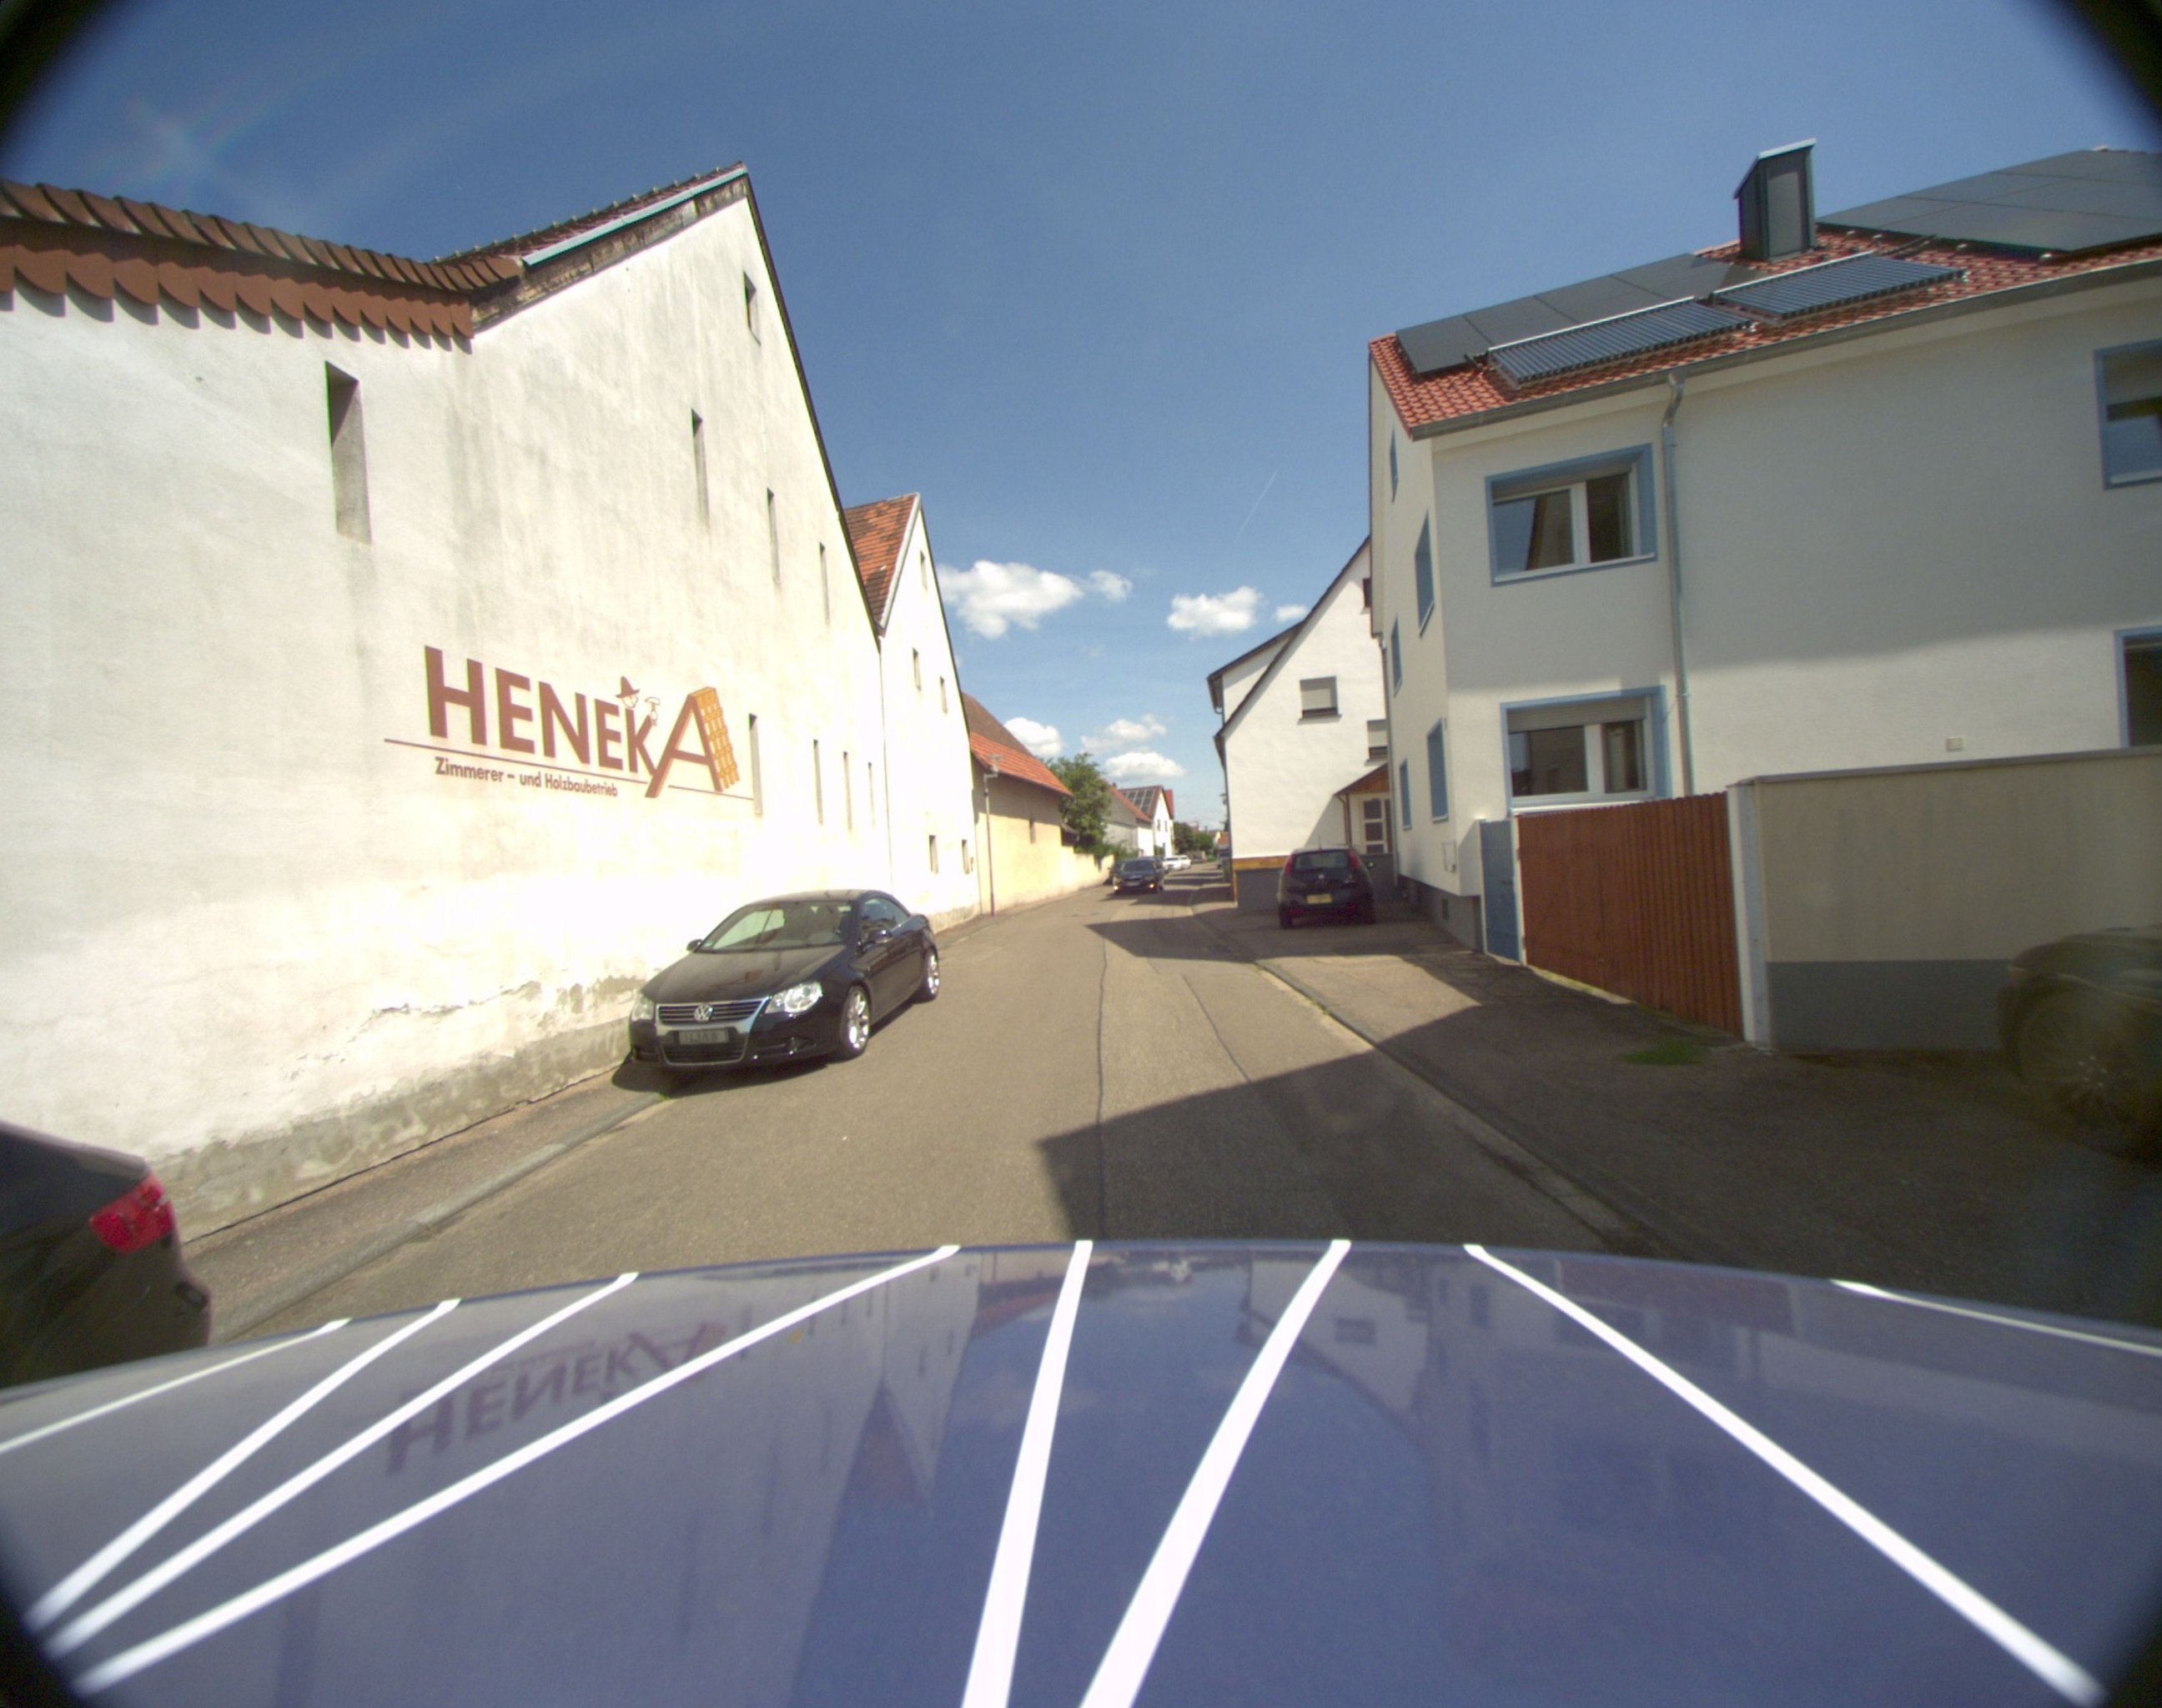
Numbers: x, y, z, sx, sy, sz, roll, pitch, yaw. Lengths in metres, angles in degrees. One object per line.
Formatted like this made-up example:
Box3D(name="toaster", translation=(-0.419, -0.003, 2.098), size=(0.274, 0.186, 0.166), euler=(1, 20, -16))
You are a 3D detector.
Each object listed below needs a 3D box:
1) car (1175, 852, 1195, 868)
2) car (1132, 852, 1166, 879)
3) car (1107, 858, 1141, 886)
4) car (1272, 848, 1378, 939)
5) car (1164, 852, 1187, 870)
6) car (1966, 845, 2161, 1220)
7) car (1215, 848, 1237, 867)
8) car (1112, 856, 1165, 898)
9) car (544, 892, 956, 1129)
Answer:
Box3D(name="car", translation=(11.844, 0.690, 86.739), size=(1.783, 1.491, 4.042), euler=(-6, 0, 13))
Box3D(name="car", translation=(4.926, 0.809, 54.402), size=(1.783, 1.600, 4.003), euler=(-6, 0, 13))
Box3D(name="car", translation=(2.635, 1.047, 45.438), size=(1.784, 1.470, 4.002), euler=(-3, 0, 6))
Box3D(name="car", translation=(4.849, 0.689, 15.026), size=(1.640, 1.446, 3.792), euler=(-5, -1, 19))
Box3D(name="car", translation=(9.291, 0.646, 74.484), size=(1.783, 1.491, 4.042), euler=(-6, 0, 13))
Box3D(name="car", translation=(4.344, 0.681, 1.257), size=(1.772, 1.341, 4.475), euler=(-5, 0, 21))
Box3D(name="car", translation=(13.939, 0.330, 72.739), size=(1.783, 1.600, 4.003), euler=(-6, 0, 13))
Box3D(name="car", translation=(2.539, 0.938, 32.548), size=(1.784, 1.527, 4.712), euler=(-3, 0, 9))
Box3D(name="car", translation=(-2.747, 1.236, 7.645), size=(1.900, 1.357, 4.415), euler=(-4, 0, 4))
